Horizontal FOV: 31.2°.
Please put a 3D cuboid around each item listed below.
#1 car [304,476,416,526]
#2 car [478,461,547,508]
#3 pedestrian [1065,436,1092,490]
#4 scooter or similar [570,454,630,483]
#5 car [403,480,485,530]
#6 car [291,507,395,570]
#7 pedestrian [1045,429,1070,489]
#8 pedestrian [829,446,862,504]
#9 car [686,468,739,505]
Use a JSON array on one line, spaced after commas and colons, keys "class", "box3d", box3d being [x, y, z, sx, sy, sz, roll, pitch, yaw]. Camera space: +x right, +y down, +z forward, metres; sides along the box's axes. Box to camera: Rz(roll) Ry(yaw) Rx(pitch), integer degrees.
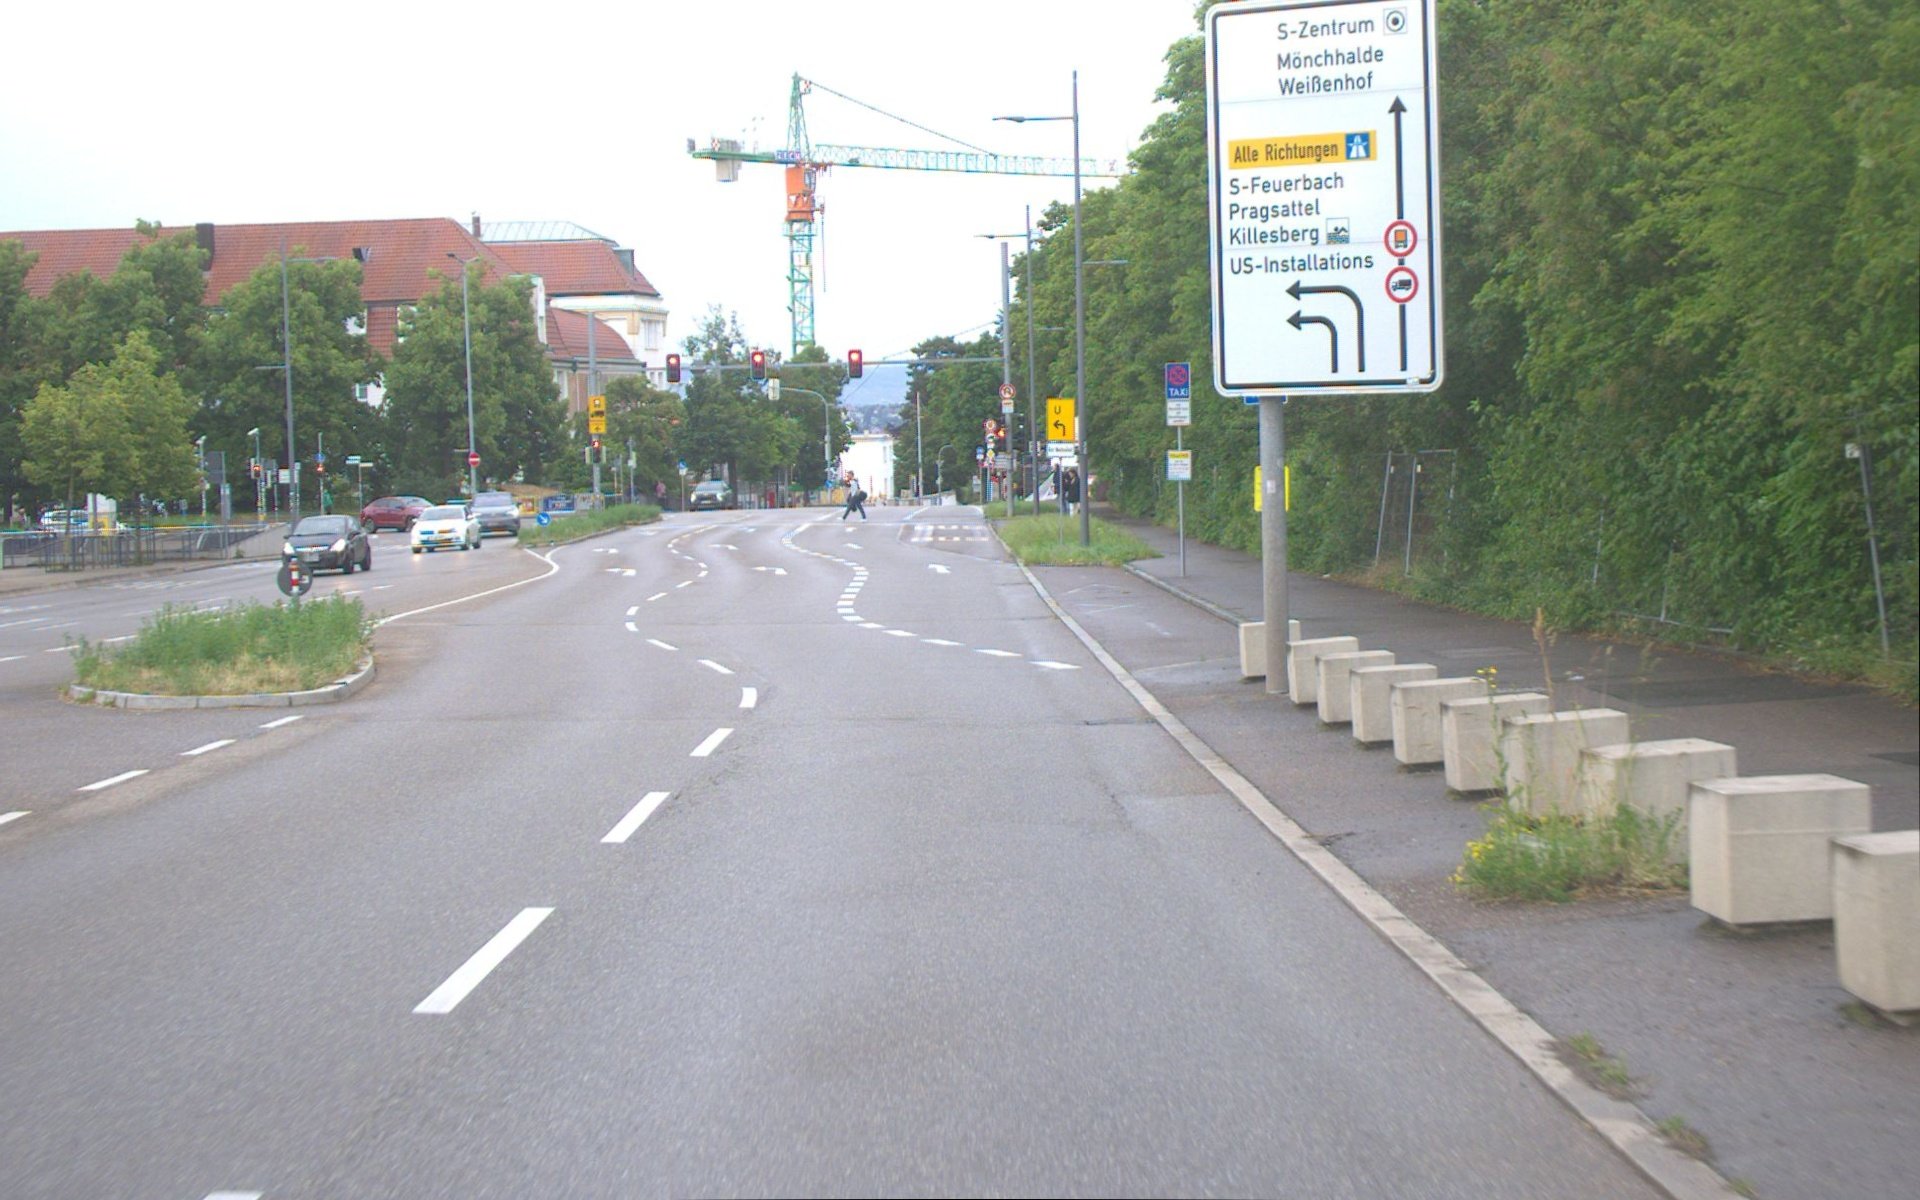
[{"class": "car", "box3d": [-24.289, -4.017, 139.148, 3.991, 1.910, 1.998, -1, 2, 22]}, {"class": "car", "box3d": [-16.316, -4.185, 125.427, 1.832, 1.566, 4.594, -4, 2, 0]}, {"class": "pedestrian", "box3d": [3.651, -4.231, 106.110, 0.675, 1.652, 0.793, -2, 3, -5]}, {"class": "scooter or similar", "box3d": [-19.203, -7.028, 183.261, 3.087, 1.435, 0.949, -2, 3, -2]}, {"class": "car", "box3d": [-16.199, -2.993, 108.126, 1.873, 1.425, 4.176, -4, 2, 0]}, {"class": "car", "box3d": [-15.376, -1.549, 85.862, 1.846, 1.457, 3.867, -2, 2, 0]}, {"class": "pedestrian", "box3d": [3.127, -4.517, 110.287, 0.640, 1.894, 0.718, -2, 2, -5]}, {"class": "pedestrian", "box3d": [-4.091, -4.497, 123.261, 0.940, 2.006, 0.847, -4, 2, 5]}, {"class": "car", "box3d": [-12.830, -5.901, 178.511, 1.994, 1.831, 3.999, 0, 1, 8]}]
